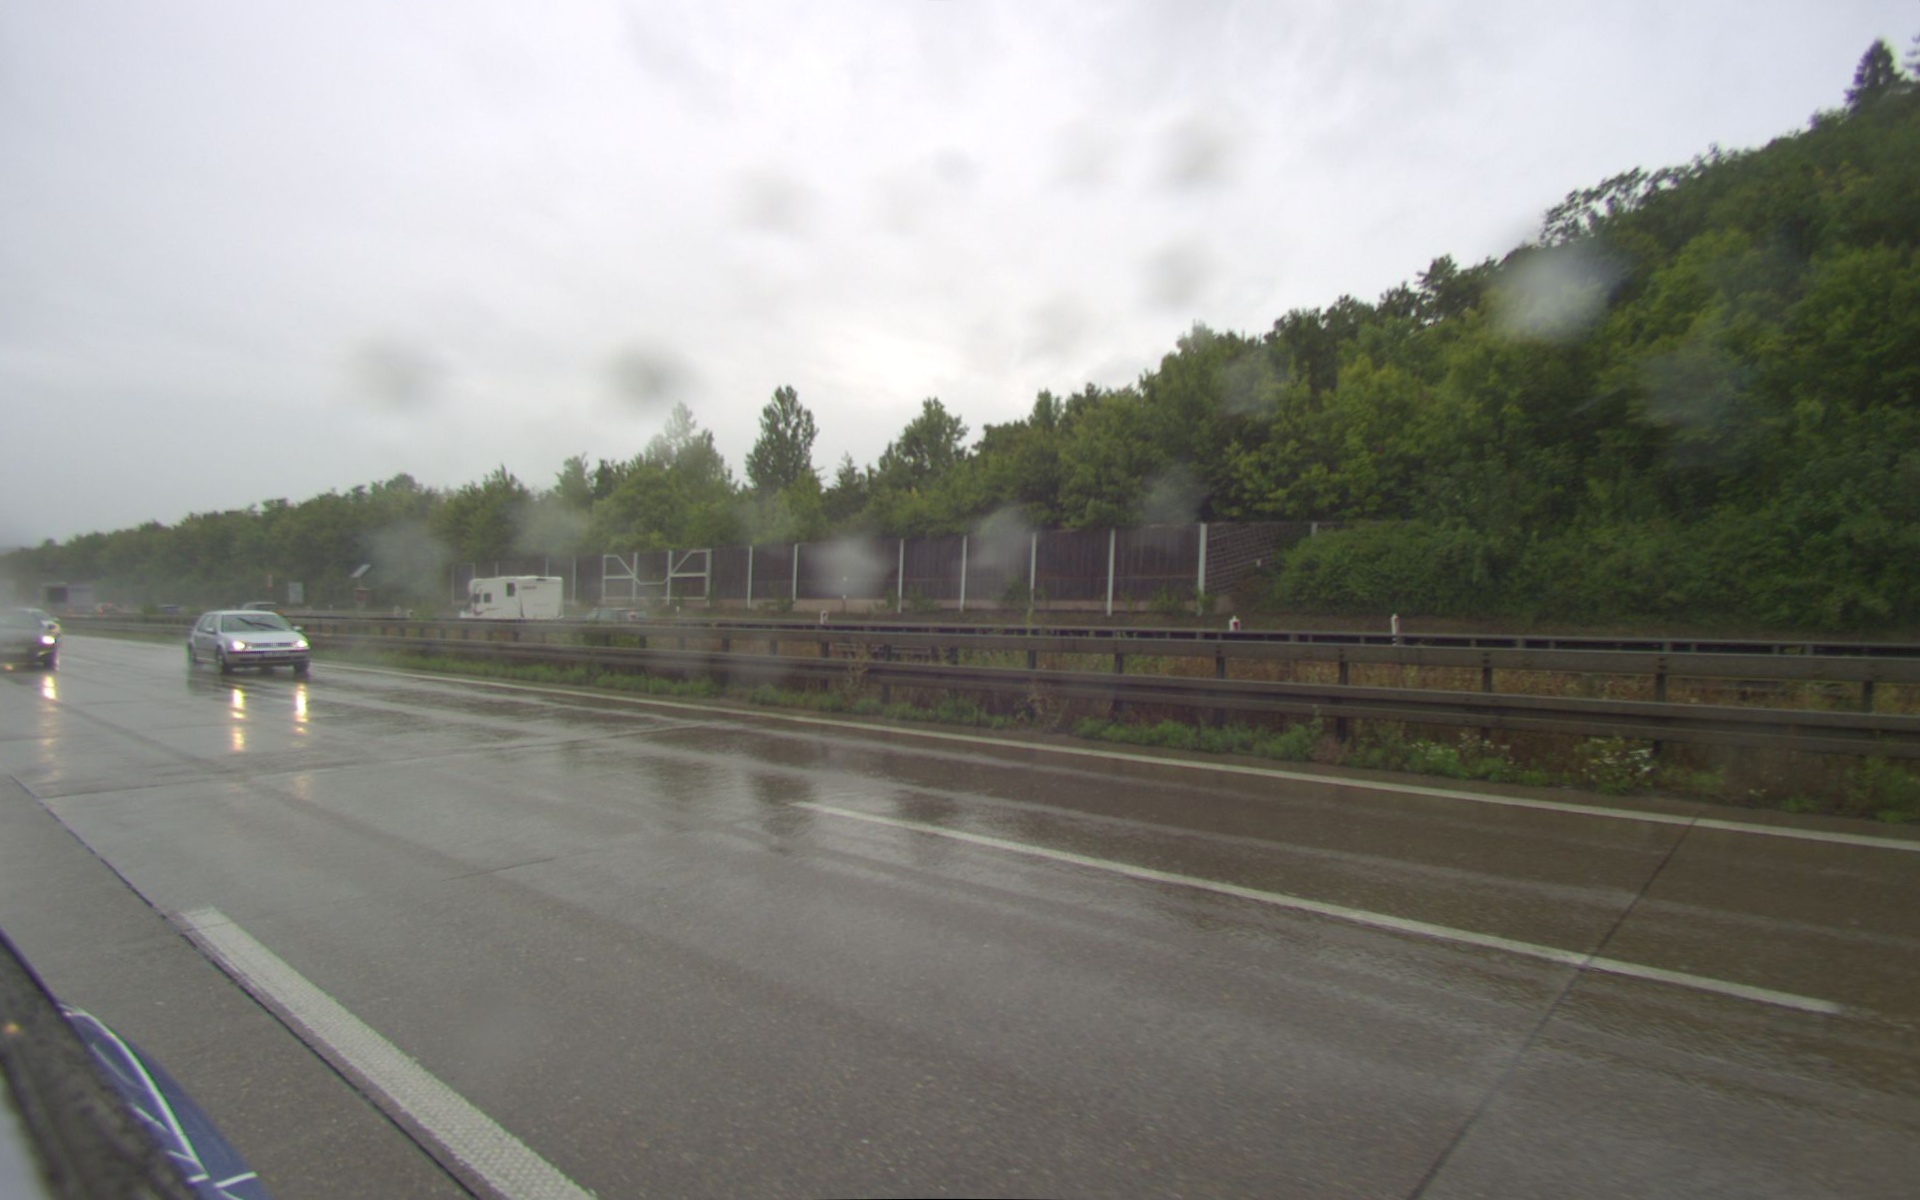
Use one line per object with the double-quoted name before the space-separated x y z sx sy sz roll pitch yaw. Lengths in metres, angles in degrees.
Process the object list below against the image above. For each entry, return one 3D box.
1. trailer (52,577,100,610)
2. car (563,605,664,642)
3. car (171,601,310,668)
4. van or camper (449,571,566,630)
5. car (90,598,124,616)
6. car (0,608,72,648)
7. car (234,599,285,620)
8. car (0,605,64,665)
"trailer" -109.951 -0.754 125.770 13.772 3.830 2.738 -1 1 42
"car" -13.481 0.884 39.269 4.340 1.313 1.735 -1 1 40
"car" -17.122 0.771 24.012 4.346 1.445 1.650 -1 -1 40
"van or camper" -22.918 0.042 51.057 7.496 2.738 2.529 0 0 42
"car" -82.378 0.692 97.737 3.998 1.696 1.973 -1 0 41
"car" -35.784 1.032 38.863 4.515 1.445 1.909 0 -2 41
"car" -47.093 0.642 68.028 4.340 1.313 1.735 -1 1 40
"car" -24.494 0.856 25.809 4.516 1.445 1.909 0 -2 42
